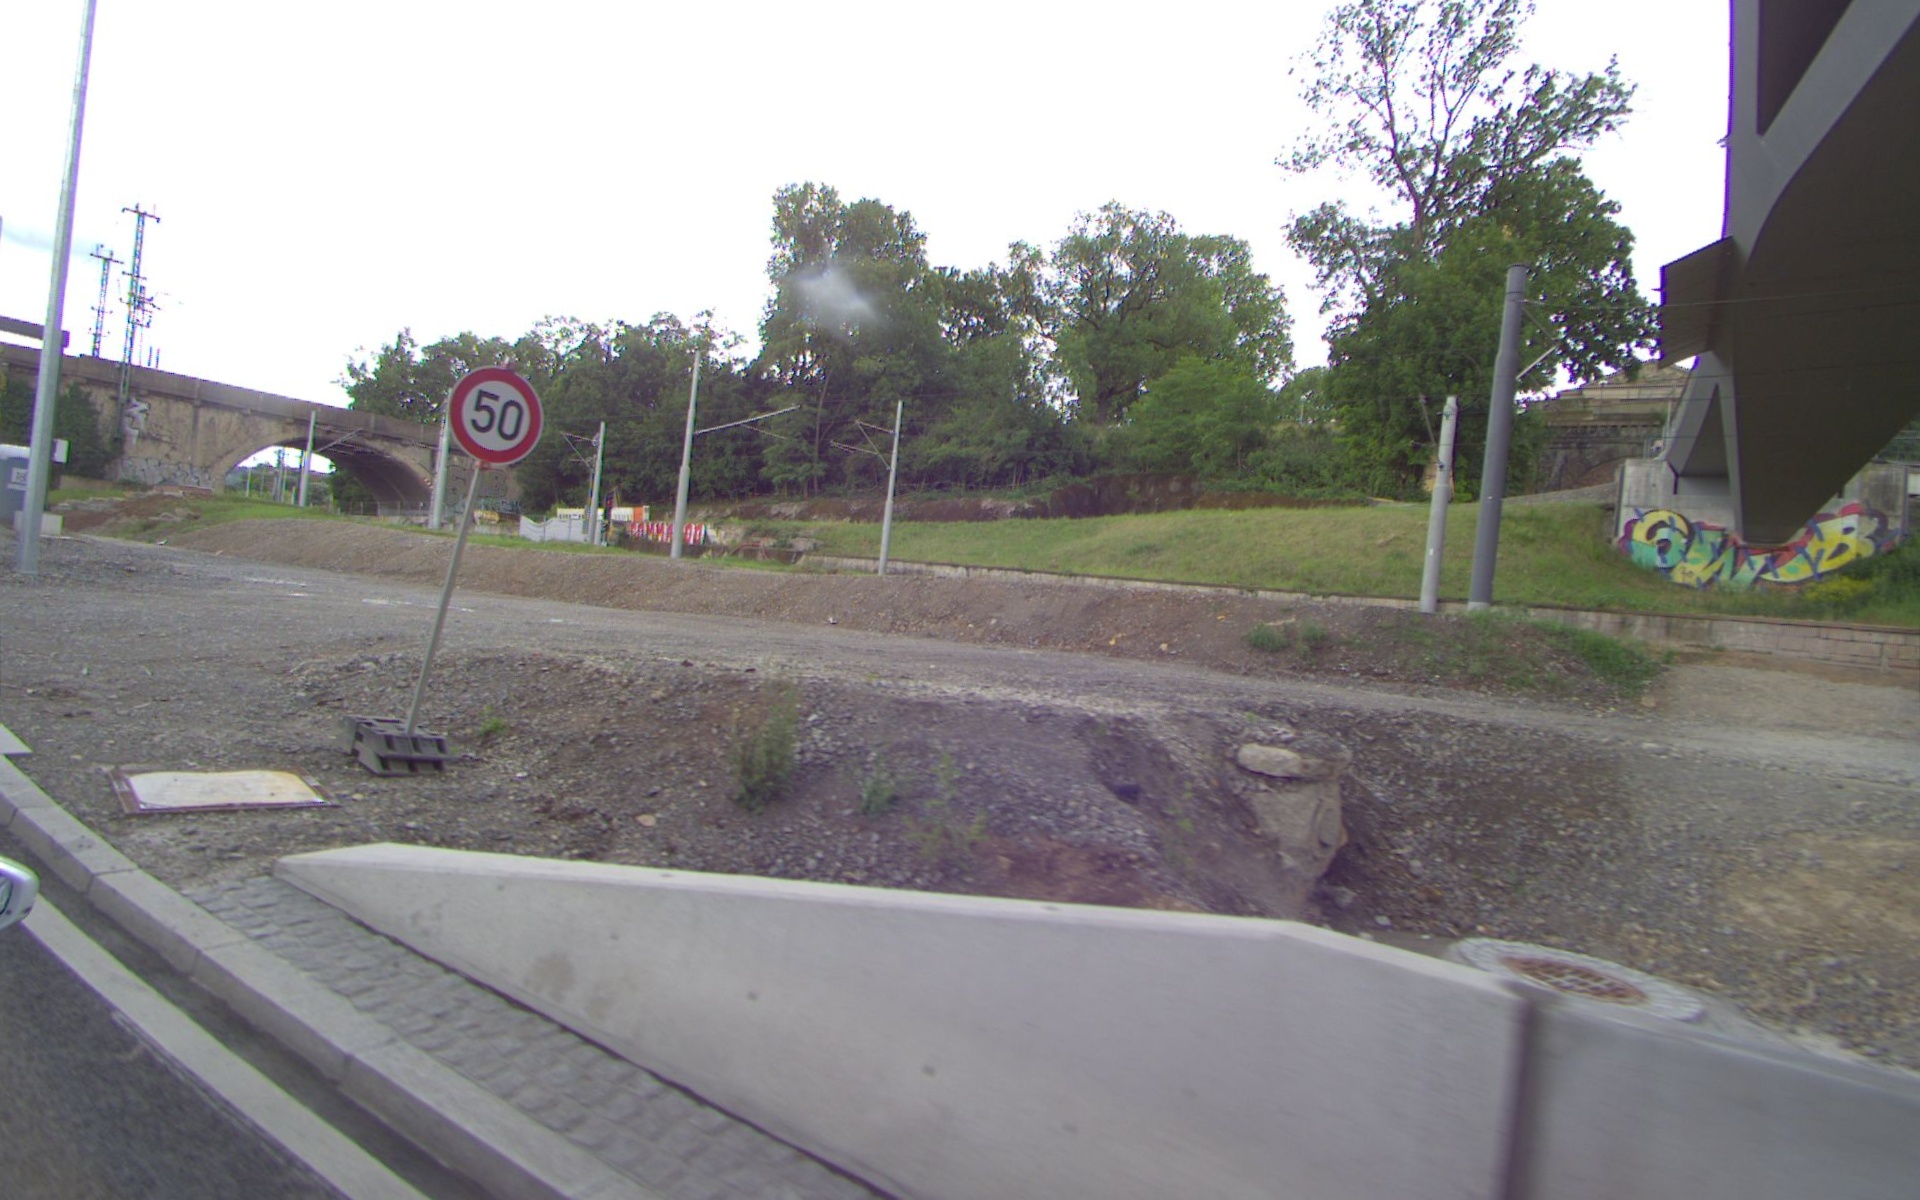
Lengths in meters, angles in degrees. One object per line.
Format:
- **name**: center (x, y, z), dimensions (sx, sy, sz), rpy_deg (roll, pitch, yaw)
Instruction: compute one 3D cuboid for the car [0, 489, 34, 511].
- **car**: center (-106.197, -11.278, 111.672), dimensions (1.868, 1.829, 4.492), rpy_deg (6, -3, 15)
